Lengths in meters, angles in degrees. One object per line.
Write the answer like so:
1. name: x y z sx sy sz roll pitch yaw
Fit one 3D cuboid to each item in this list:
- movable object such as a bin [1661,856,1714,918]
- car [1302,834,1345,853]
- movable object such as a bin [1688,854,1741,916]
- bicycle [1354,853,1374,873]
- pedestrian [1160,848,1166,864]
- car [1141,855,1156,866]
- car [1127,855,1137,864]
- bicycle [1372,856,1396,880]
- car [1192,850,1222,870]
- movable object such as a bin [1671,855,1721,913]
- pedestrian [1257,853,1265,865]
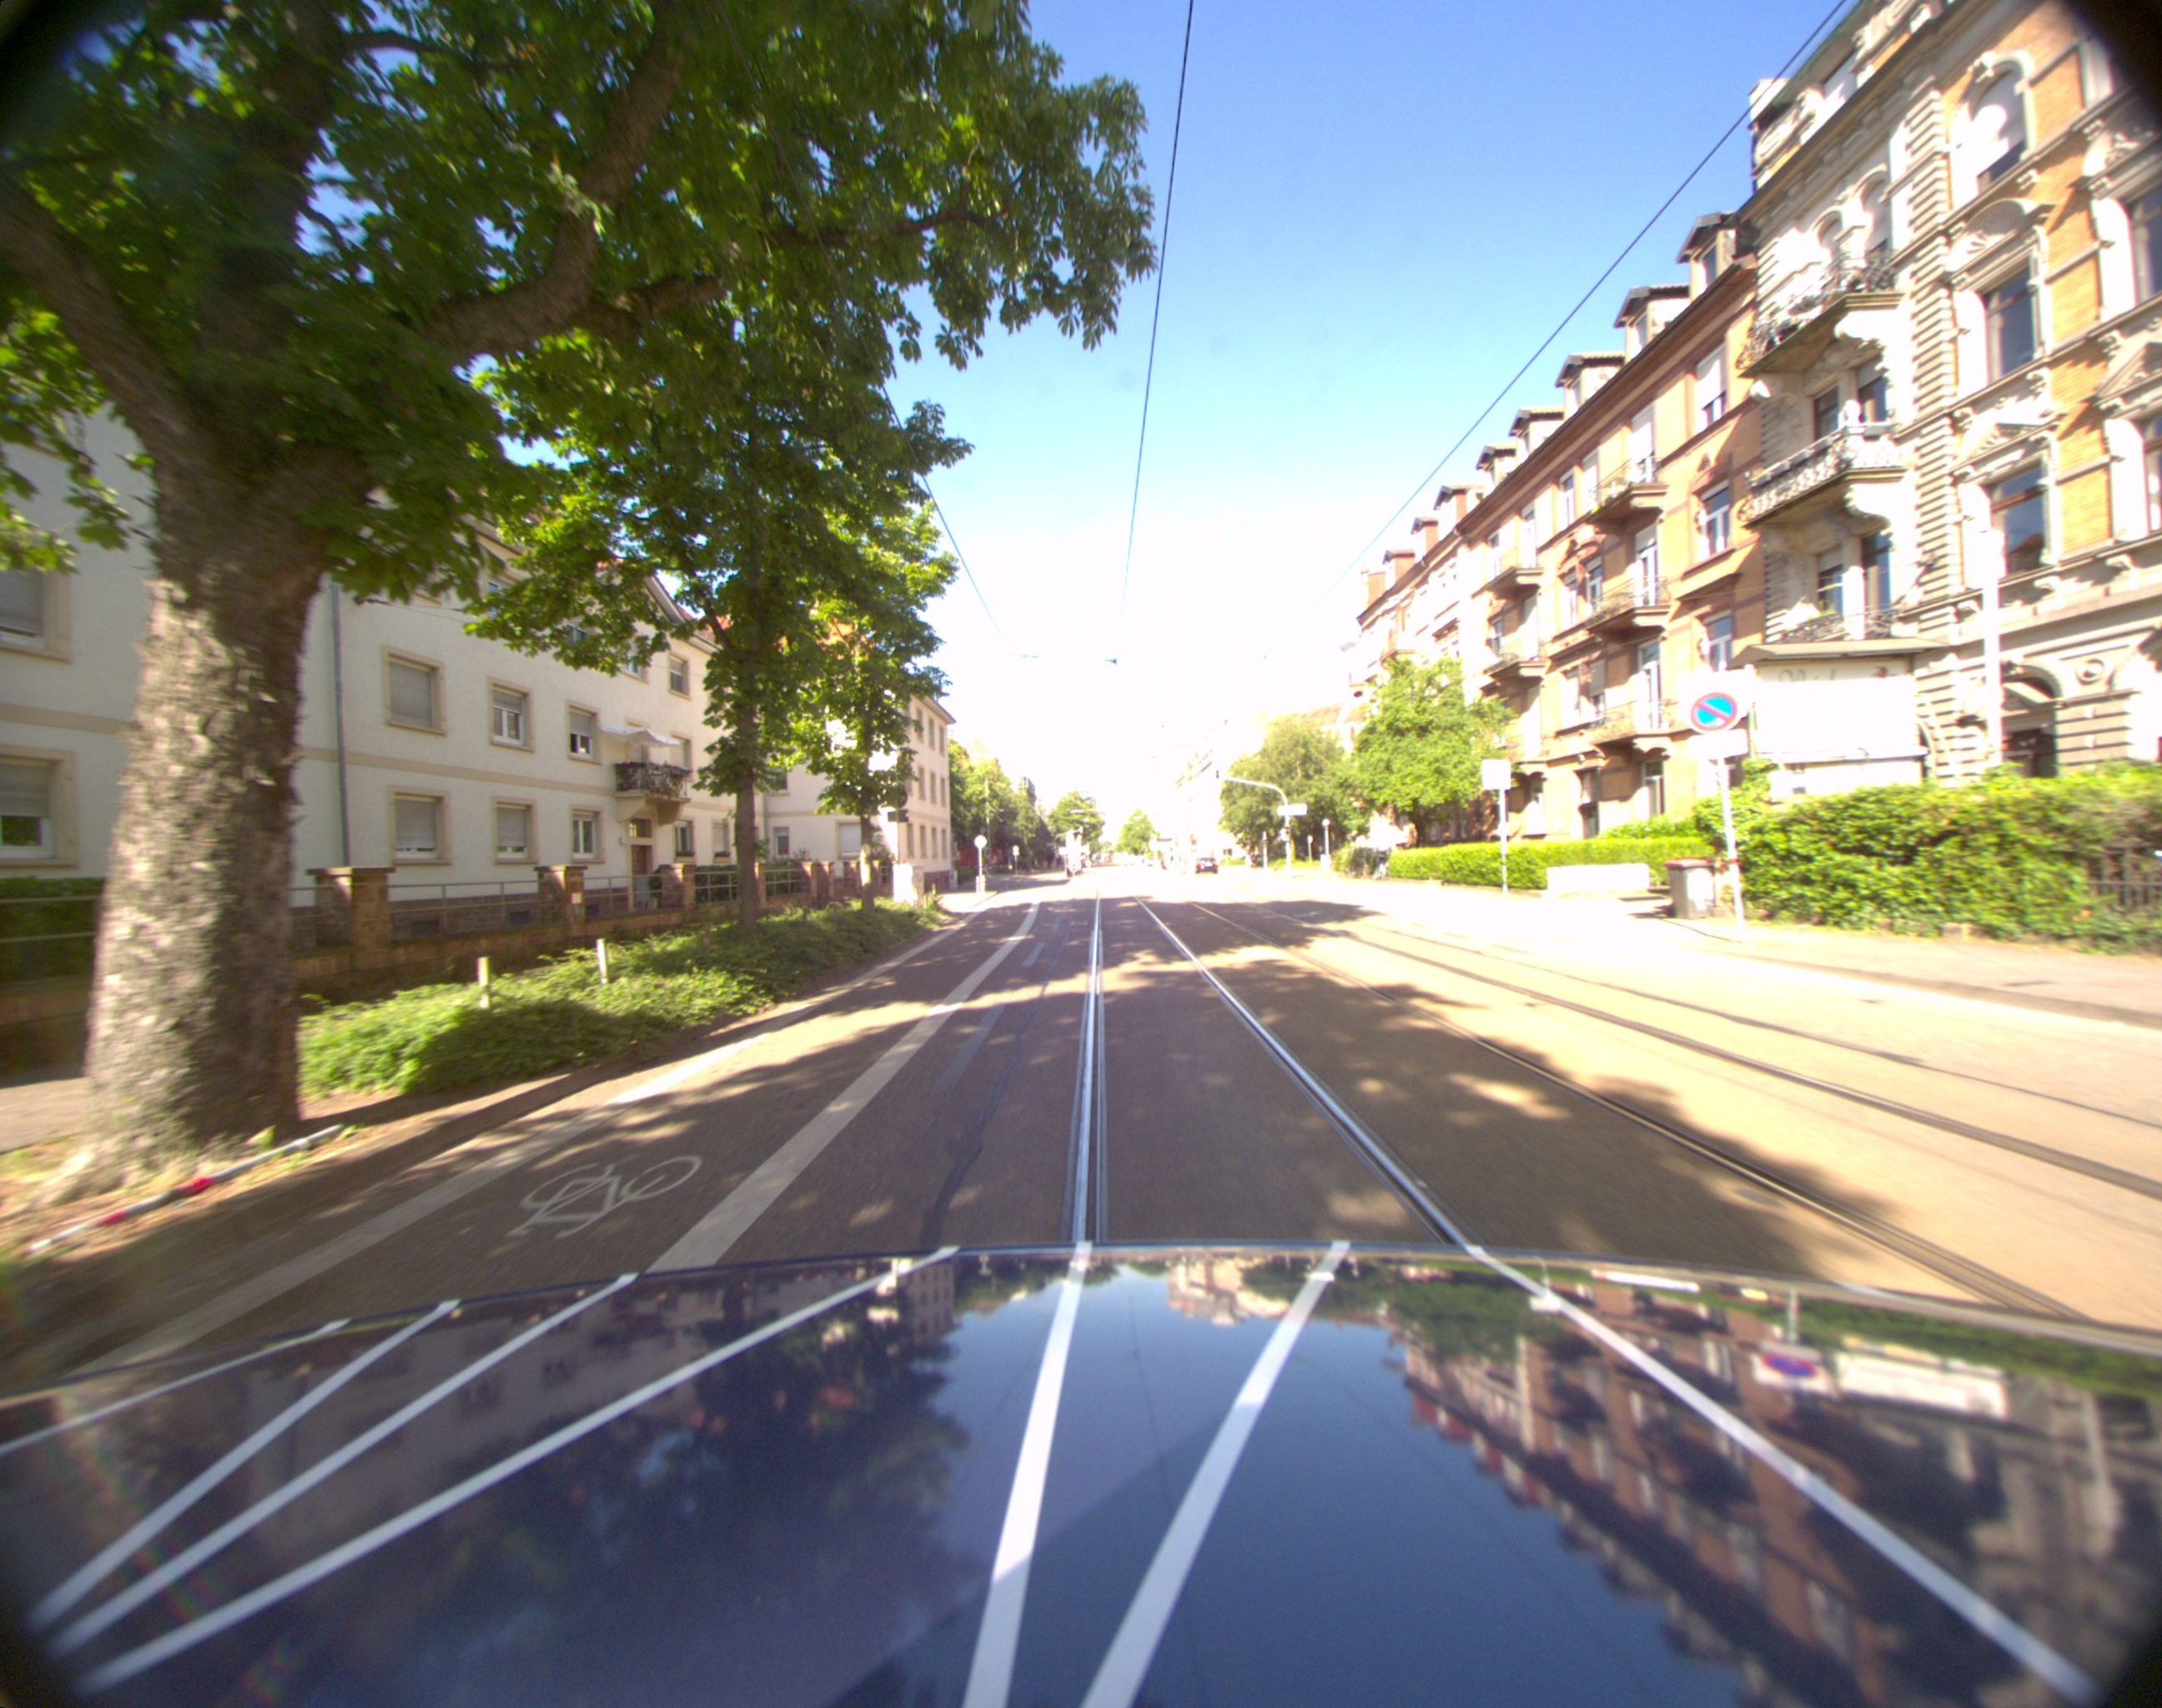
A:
1. movable object such as a bin: 11.060 0.587 13.862 0.480 1.079 0.541 -4 0 3
2. car: 25.729 -1.093 80.621 4.023 1.686 1.691 -4 0 9
3. movable object such as a bin: 11.694 0.562 14.026 0.480 1.079 0.541 -4 0 3
4. bicycle: 13.428 0.420 36.070 0.342 0.920 1.944 -3 0 6
5. pedestrian: 8.939 0.225 82.812 0.466 1.774 0.673 -2 0 1
6. car: 10.266 1.038 116.436 1.902 1.608 4.264 -1 0 0
7. car: 10.101 1.109 150.105 1.694 1.531 3.800 -3 0 5
8. bicycle: 12.634 0.580 31.729 0.342 0.920 1.944 -3 0 6
9. car: 10.586 0.481 64.165 1.836 1.509 4.967 -4 0 2
10. movable object such as a bin: 11.816 0.570 14.607 0.480 1.079 0.541 -4 0 3
11. pedestrian: 19.798 0.534 83.720 0.659 1.274 0.724 -4 0 2
